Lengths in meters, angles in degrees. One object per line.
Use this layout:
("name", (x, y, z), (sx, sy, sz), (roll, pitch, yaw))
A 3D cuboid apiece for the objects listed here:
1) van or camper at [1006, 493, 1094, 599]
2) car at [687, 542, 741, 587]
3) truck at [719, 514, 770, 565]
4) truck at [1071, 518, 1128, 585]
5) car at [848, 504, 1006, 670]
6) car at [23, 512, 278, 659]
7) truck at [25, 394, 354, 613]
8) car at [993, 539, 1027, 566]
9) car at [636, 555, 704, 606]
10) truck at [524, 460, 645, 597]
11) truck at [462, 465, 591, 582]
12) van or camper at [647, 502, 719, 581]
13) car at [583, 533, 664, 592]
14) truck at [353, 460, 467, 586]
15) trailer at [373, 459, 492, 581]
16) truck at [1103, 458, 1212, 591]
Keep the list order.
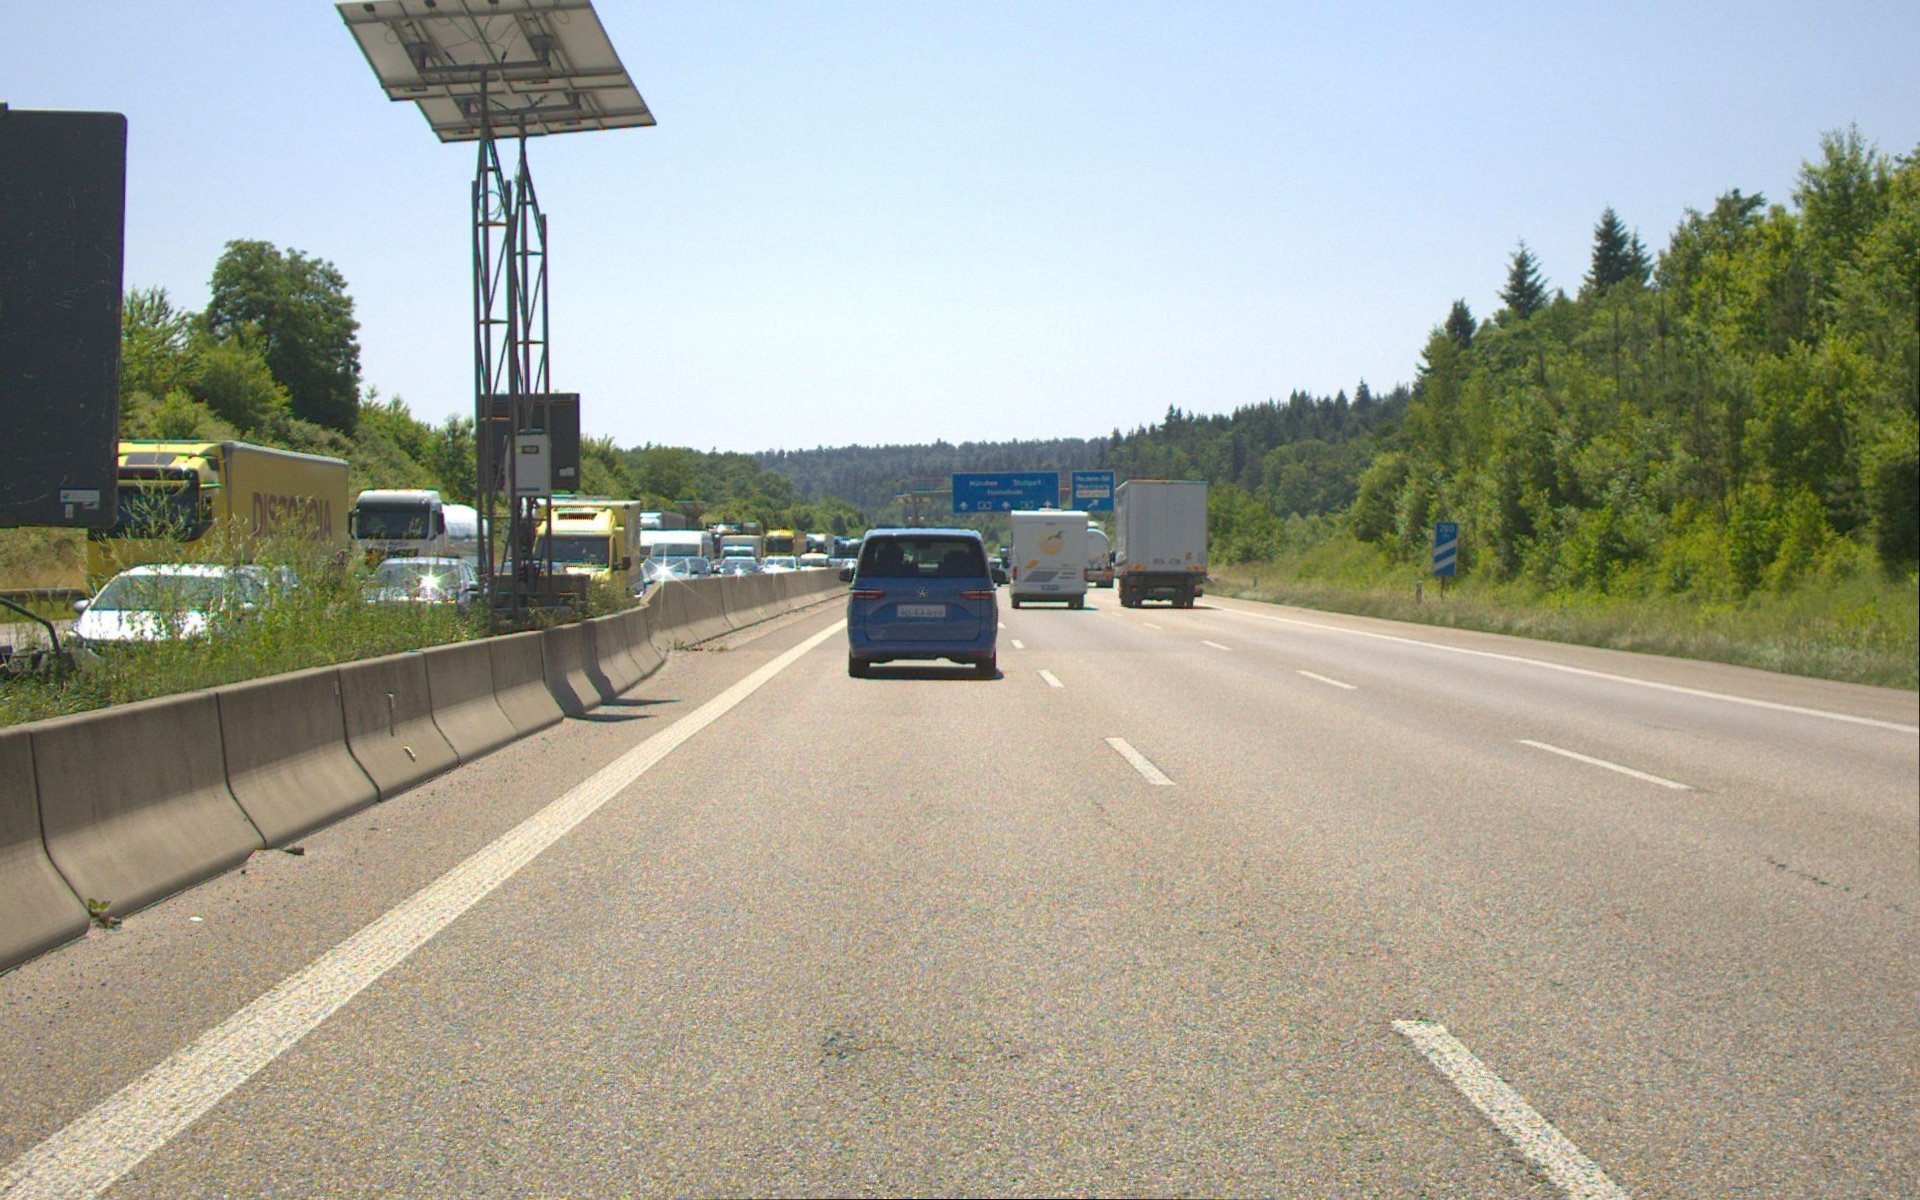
("van or camper", (2.771, -1.746, 107.710), (2.603, 3.068, 7.183), (1, 3, 1))
("car", (-9.825, -1.404, 137.413), (1.827, 1.758, 4.991), (1, 0, -1))
("truck", (-12.551, -3.503, 200.658), (2.568, 2.835, 6.753), (1, 0, -1))
("truck", (7.599, -2.699, 188.424), (2.928, 3.563, 8.526), (-1, 1, 2))
("car", (-0.434, -0.208, 44.542), (1.909, 2.007, 4.000), (1, 1, -1))
("car", (-8.864, -0.166, 38.026), (1.827, 1.492, 4.760), (1, 0, -2))
("truck", (-17.359, -2.042, 79.273), (3.696, 4.441, 17.382), (1, 0, 0))
("car", (2.766, -2.643, 189.880), (1.780, 1.481, 4.000), (0, 1, 0))
("car", (-8.795, -0.605, 104.557), (1.827, 1.492, 4.760), (1, 0, -2))
("truck", (-8.694, -1.622, 80.226), (2.268, 3.006, 6.777), (1, 0, -2))
("truck", (-17.584, -3.009, 140.628), (3.696, 4.441, 16.677), (1, 0, -2))
("van or camper", (-10.085, -2.109, 125.656), (2.251, 2.766, 7.218), (1, 0, -2))
("car", (-8.893, -0.980, 91.058), (1.827, 1.492, 4.760), (1, 0, -2))
("truck", (-16.797, -2.311, 105.338), (2.678, 3.730, 5.873), (1, 0, -2))
("trailer", (-17.058, -2.590, 111.821), (2.610, 3.720, 10.683), (1, 1, -2))
("truck", (6.396, -2.393, 112.513), (2.783, 4.114, 9.740), (1, 0, -1))
